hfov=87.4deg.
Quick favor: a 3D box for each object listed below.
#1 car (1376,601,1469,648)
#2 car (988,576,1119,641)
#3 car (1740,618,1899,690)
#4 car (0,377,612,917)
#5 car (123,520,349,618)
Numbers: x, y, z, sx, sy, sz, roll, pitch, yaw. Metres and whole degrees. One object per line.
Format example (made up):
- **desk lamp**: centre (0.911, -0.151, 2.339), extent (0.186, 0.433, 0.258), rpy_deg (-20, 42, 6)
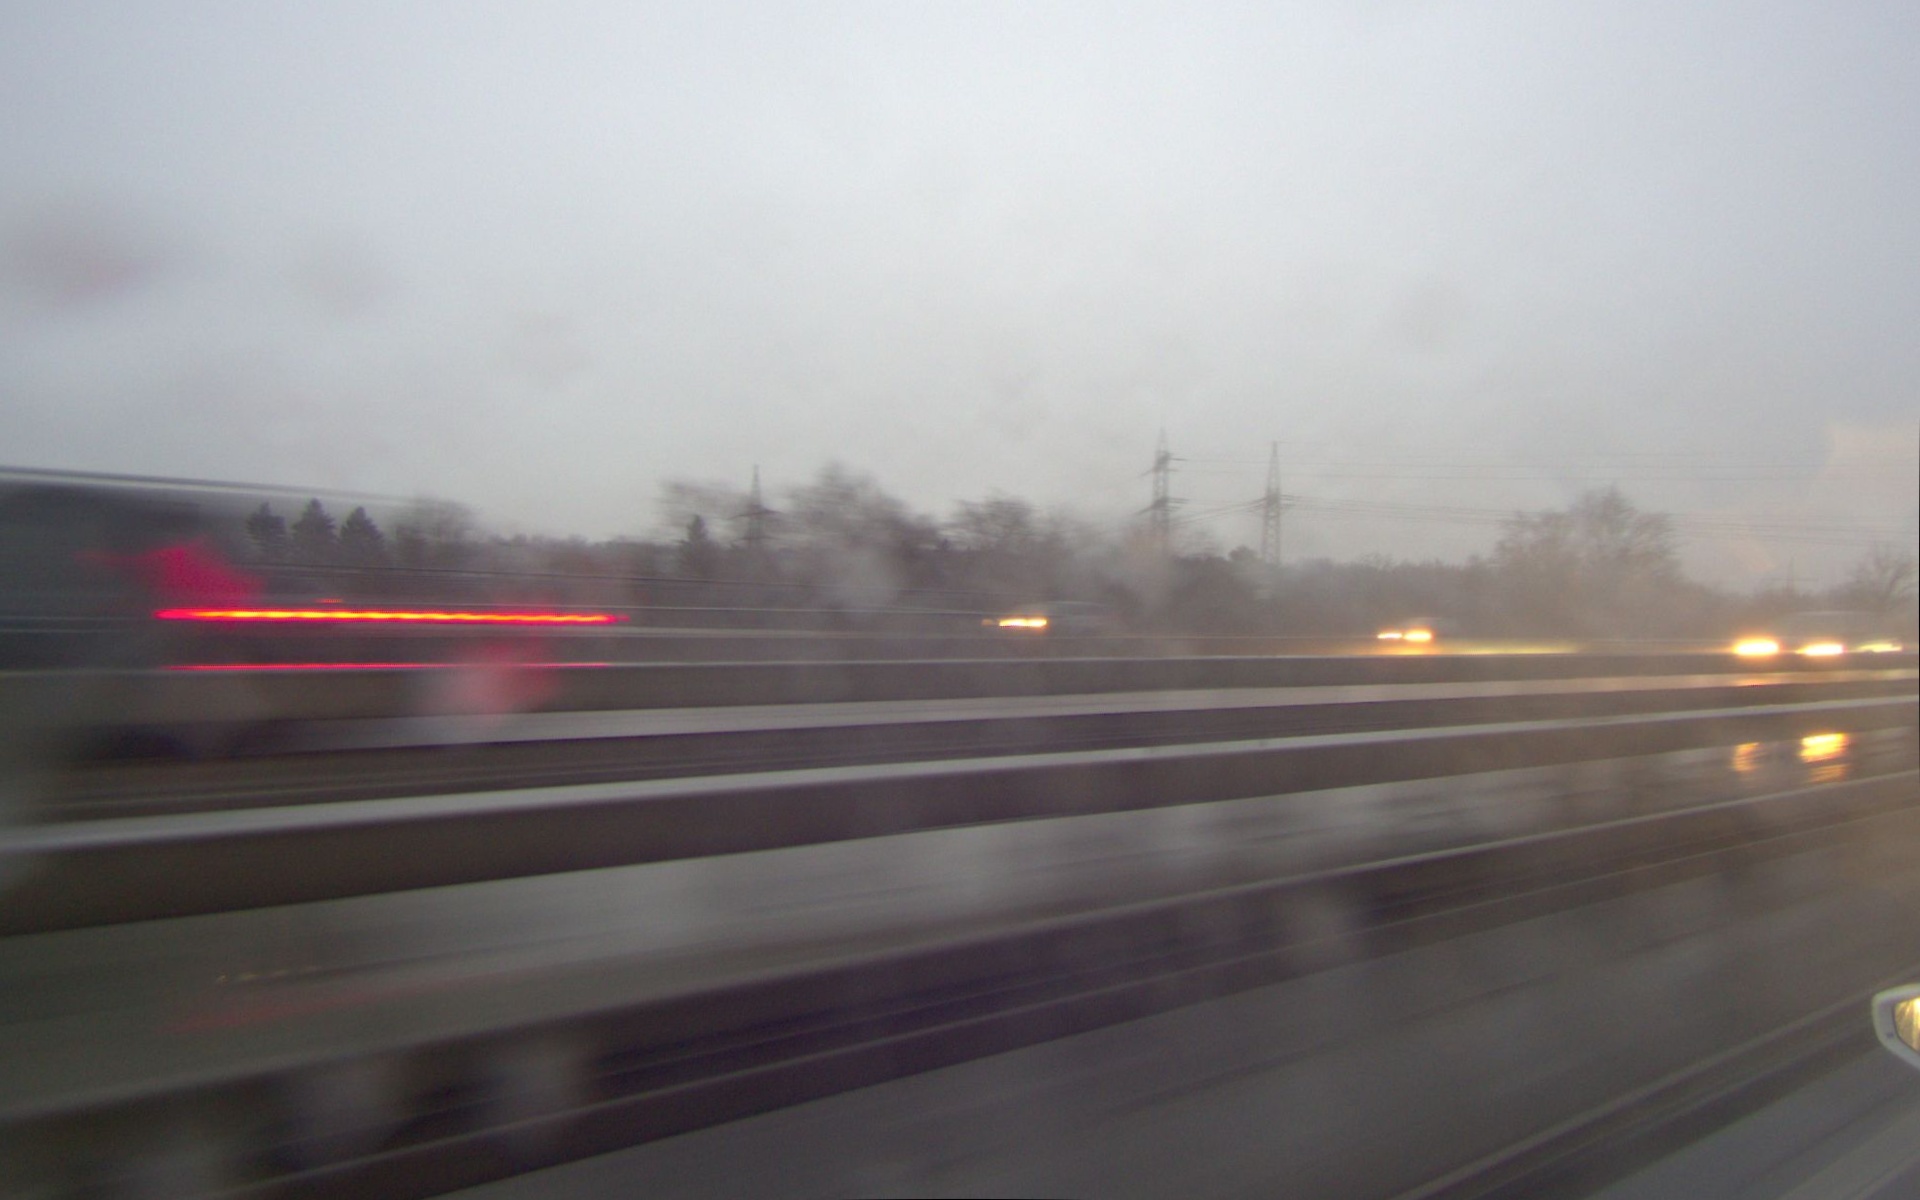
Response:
- **car**: centre (21.208, 1.100, 46.067), extent (3.955, 2.040, 1.983), rpy_deg (1, 0, -32)
- **car**: centre (3.149, 0.304, 33.678), extent (3.953, 2.040, 1.984), rpy_deg (2, 1, -31)
- **car**: centre (22.478, 1.342, 26.241), extent (4.491, 1.658, 1.826), rpy_deg (0, 0, -31)
- **car**: centre (-4.536, 0.180, 4.995), extent (4.995, 2.244, 1.983), rpy_deg (1, 1, -31)
- **car**: centre (-16.208, -0.639, 22.781), extent (3.953, 2.040, 1.984), rpy_deg (0, 0, -31)
